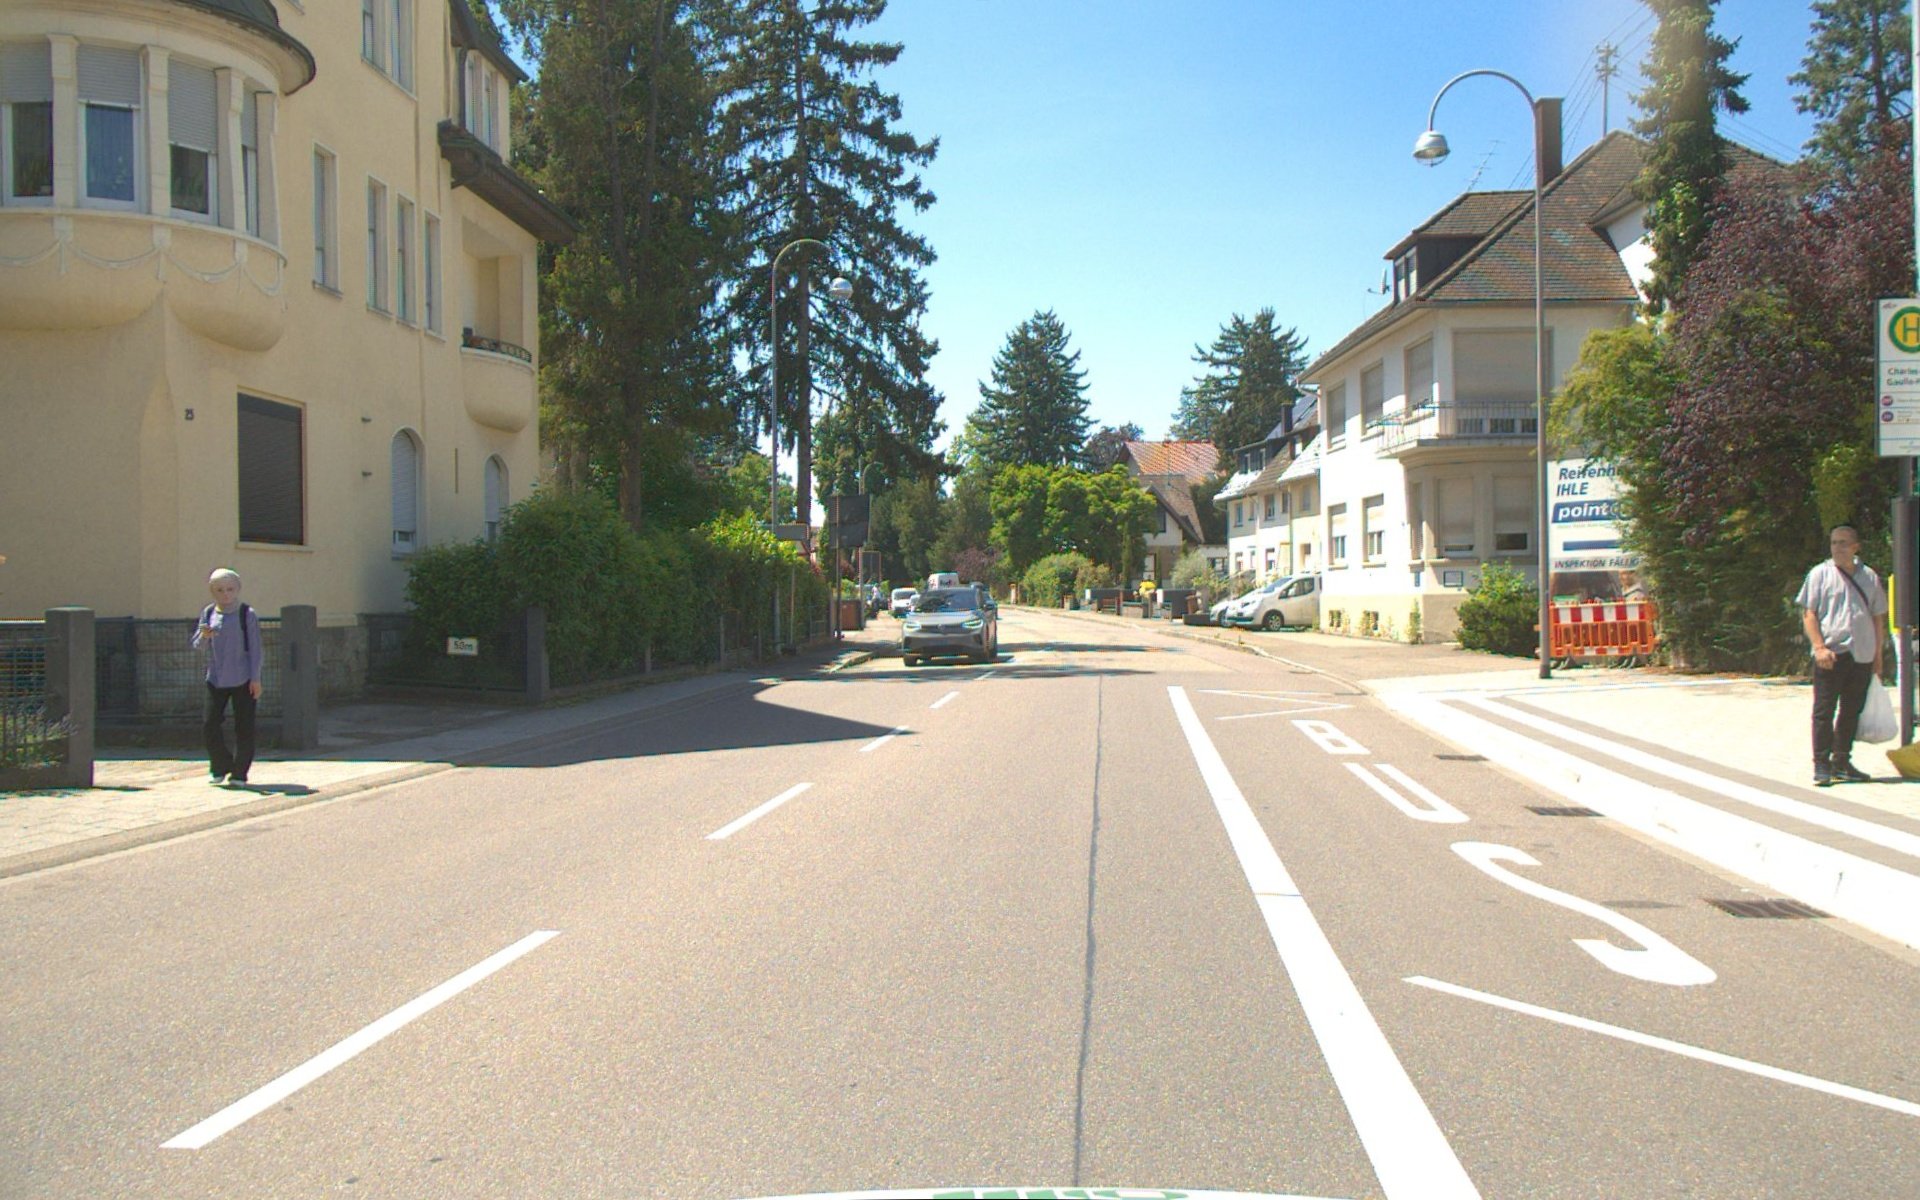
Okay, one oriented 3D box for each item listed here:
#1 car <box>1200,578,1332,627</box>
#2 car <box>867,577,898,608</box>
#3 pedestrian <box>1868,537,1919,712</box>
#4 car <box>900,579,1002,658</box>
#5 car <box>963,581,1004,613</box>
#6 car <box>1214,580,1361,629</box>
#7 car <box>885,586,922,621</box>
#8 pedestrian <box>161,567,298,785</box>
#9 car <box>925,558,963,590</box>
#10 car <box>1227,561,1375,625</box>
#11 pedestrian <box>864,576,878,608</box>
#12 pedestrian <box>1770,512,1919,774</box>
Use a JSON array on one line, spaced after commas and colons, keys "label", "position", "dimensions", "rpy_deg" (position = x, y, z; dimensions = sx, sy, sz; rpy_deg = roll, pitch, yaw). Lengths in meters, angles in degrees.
[{"label": "car", "position": [10.725, 0.074, 58.050], "dimensions": [4.212, 1.575, 1.752], "rpy_deg": [2, -1, 31]}, {"label": "car", "position": [-4.789, -0.471, 101.896], "dimensions": [1.689, 1.766, 3.883], "rpy_deg": [-3, 1, -5]}, {"label": "pedestrian", "position": [9.230, 0.216, 15.954], "dimensions": [0.601, 1.644, 0.751], "rpy_deg": [-3, 0, 15]}, {"label": "car", "position": [-0.139, 0.377, 36.633], "dimensions": [1.814, 1.645, 4.300], "rpy_deg": [0, 0, 6]}, {"label": "car", "position": [1.215, -0.173, 86.134], "dimensions": [1.770, 1.514, 4.384], "rpy_deg": [-2, 1, -3]}, {"label": "car", "position": [10.894, 0.134, 55.240], "dimensions": [4.545, 1.433, 1.769], "rpy_deg": [2, 1, 0]}, {"label": "car", "position": [-2.609, 0.120, 75.407], "dimensions": [1.547, 1.448, 3.939], "rpy_deg": [-3, 1, -3]}, {"label": "pedestrian", "position": [-5.573, 0.559, 12.657], "dimensions": [0.600, 1.592, 0.824], "rpy_deg": [2, 0, 3]}, {"label": "car", "position": [-1.282, -2.036, 129.879], "dimensions": [2.105, 2.355, 4.840], "rpy_deg": [-2, 1, -11]}, {"label": "car", "position": [10.815, -0.226, 52.514], "dimensions": [4.211, 1.862, 1.735], "rpy_deg": [2, 0, -10]}, {"label": "pedestrian", "position": [-5.398, -0.479, 100.071], "dimensions": [0.675, 1.922, 1.019], "rpy_deg": [4, -1, 1]}, {"label": "pedestrian", "position": [6.570, 0.308, 12.257], "dimensions": [0.602, 1.836, 0.749], "rpy_deg": [-4, 0, -6]}]
